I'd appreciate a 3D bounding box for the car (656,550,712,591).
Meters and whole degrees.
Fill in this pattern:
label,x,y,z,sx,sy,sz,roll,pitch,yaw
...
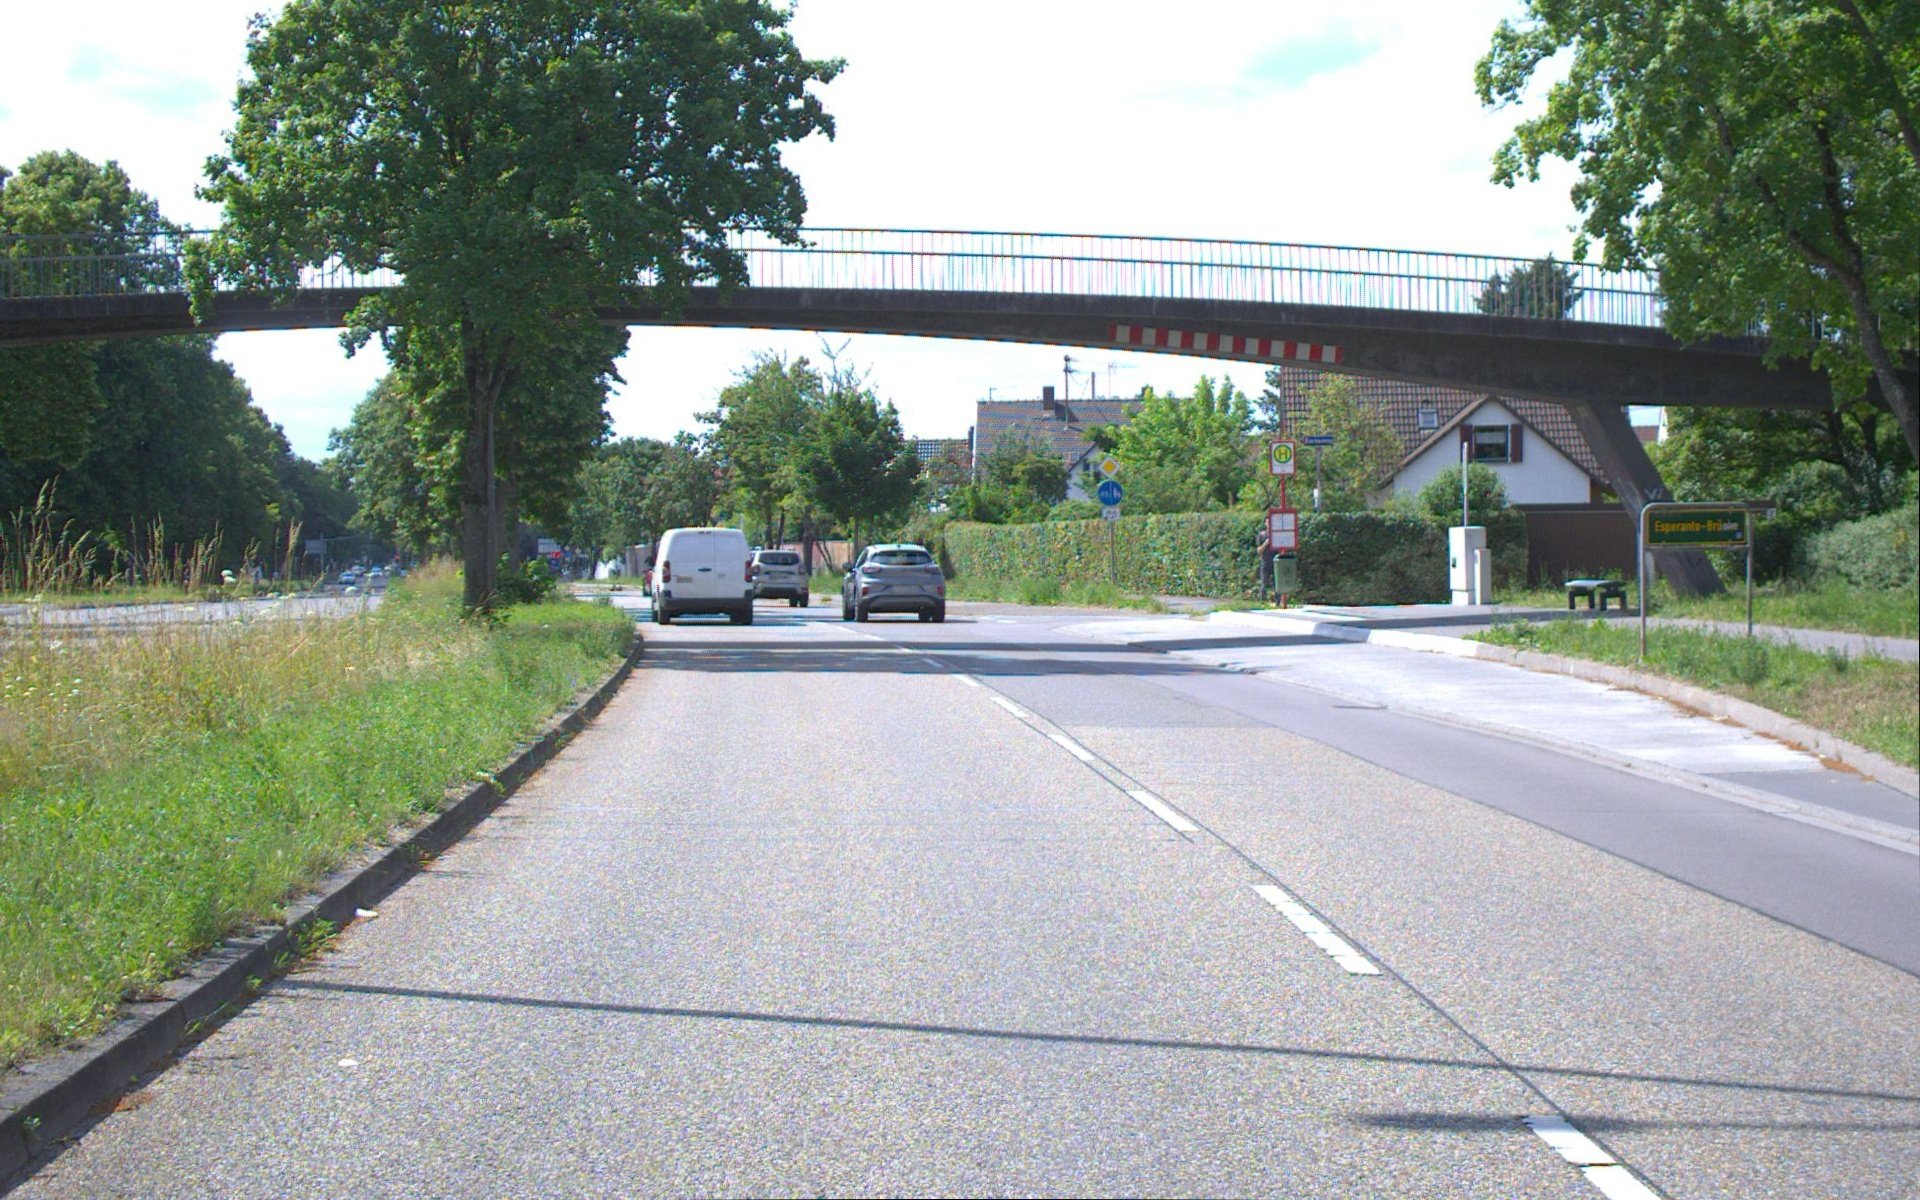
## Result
label,x,y,z,sx,sy,sz,roll,pitch,yaw
car,-10.929,-1.177,135.791,1.880,1.582,4.001,0,1,-9

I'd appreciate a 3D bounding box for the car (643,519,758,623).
label,x,y,z,sx,sy,sz,roll,pitch,yaw
car,-5.020,-0.570,65.970,2.065,1.905,4.647,0,1,-6

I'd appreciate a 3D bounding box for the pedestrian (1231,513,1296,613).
label,x,y,z,sx,sy,sz,roll,pitch,yaw
pedestrian,5.779,-0.695,65.552,0.954,1.818,1.088,-2,-1,-6

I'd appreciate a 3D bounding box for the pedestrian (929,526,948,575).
label,x,y,z,sx,sy,sz,roll,pitch,yaw
pedestrian,-0.729,-1.690,116.840,0.560,1.671,0.634,0,0,-9

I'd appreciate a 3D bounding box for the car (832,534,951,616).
label,x,y,z,sx,sy,sz,roll,pitch,yaw
car,-1.407,-0.507,68.816,1.875,1.583,4.185,-1,0,-8

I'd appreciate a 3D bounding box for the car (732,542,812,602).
label,x,y,z,sx,sy,sz,roll,pitch,yaw
car,-5.384,-0.803,98.250,1.874,1.646,4.001,-1,0,-9
